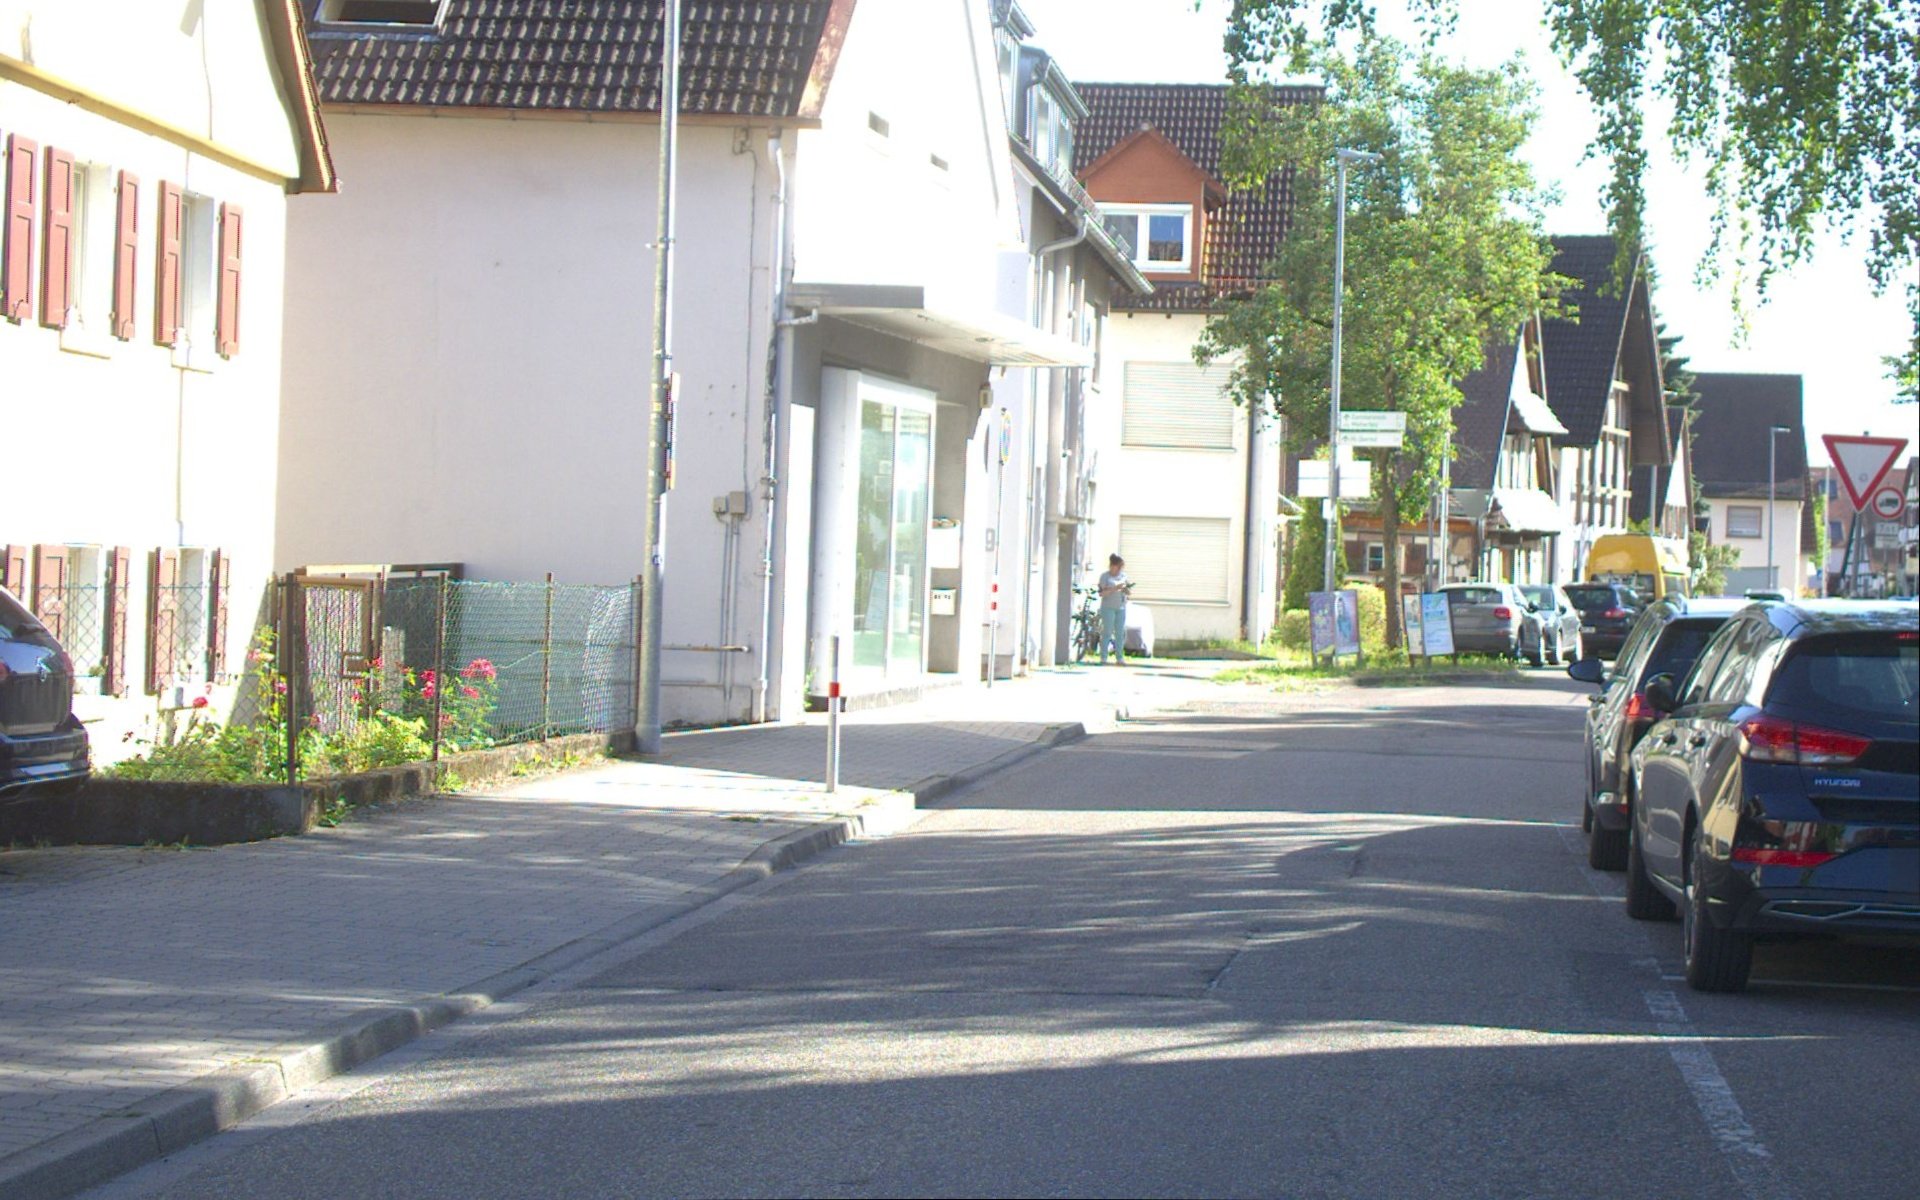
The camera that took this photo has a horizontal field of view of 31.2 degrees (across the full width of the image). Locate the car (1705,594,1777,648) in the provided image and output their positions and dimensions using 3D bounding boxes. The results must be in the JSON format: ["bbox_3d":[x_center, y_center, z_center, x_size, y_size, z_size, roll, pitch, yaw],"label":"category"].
[{"bbox_3d":[20.918,0.548,91.999,1.589,1.331,3.612,3,1,16],"label":"car"}]

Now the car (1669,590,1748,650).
[{"bbox_3d":[19.120,0.497,87.716,1.647,1.428,3.612,3,1,16],"label":"car"}]

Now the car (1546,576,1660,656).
[{"bbox_3d":[13.881,0.352,74.086,1.808,1.616,3.877,3,0,19],"label":"car"}]

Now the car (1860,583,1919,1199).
[{"bbox_3d":[2.600,0.771,5.530,1.648,1.473,3.933,3,1,7],"label":"car"}]

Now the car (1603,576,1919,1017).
[{"bbox_3d":[3.697,0.684,13.915,1.808,1.431,4.284,3,1,7],"label":"car"}]

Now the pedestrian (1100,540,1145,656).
[{"bbox_3d":[2.404,-0.027,50.861,0.484,1.687,0.556,3,-1,14],"label":"pedestrian"}]

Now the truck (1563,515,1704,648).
[{"bbox_3d":[15.563,-0.382,79.208,2.270,2.859,5.777,2,0,19],"label":"truck"}]

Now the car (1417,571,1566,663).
[{"bbox_3d":[9.544,0.313,61.498,1.869,1.500,4.103,2,0,19],"label":"car"}]

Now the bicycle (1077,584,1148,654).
[{"bbox_3d":[2.413,0.313,54.171,0.578,1.049,2.034,2,-1,17],"label":"bicycle"}]

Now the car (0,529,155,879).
[{"bbox_3d":[-5.930,0.418,15.398,4.159,1.457,1.848,0,1,4],"label":"car"}]

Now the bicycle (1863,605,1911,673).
[{"bbox_3d":[16.513,0.696,61.221,0.434,1.172,1.826,2,1,27],"label":"bicycle"}]

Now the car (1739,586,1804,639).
[{"bbox_3d":[23.660,0.370,100.188,1.589,1.438,3.612,3,1,16],"label":"car"}]

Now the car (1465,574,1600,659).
[{"bbox_3d":[10.967,0.328,65.649,1.808,1.500,4.103,3,0,19],"label":"car"}]

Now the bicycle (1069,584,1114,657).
[{"bbox_3d":[1.947,0.302,50.784,0.423,1.049,1.380,2,-1,11],"label":"bicycle"}]

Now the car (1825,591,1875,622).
[{"bbox_3d":[49.004,0.353,189.368,1.973,1.577,3.994,3,1,5],"label":"car"}]

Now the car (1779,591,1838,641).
[{"bbox_3d":[26.408,0.497,106.941,1.589,1.438,3.612,3,1,16],"label":"car"}]

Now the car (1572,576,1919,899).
[{"bbox_3d":[4.282,0.644,18.610,1.808,1.431,4.284,3,1,11],"label":"car"}]
